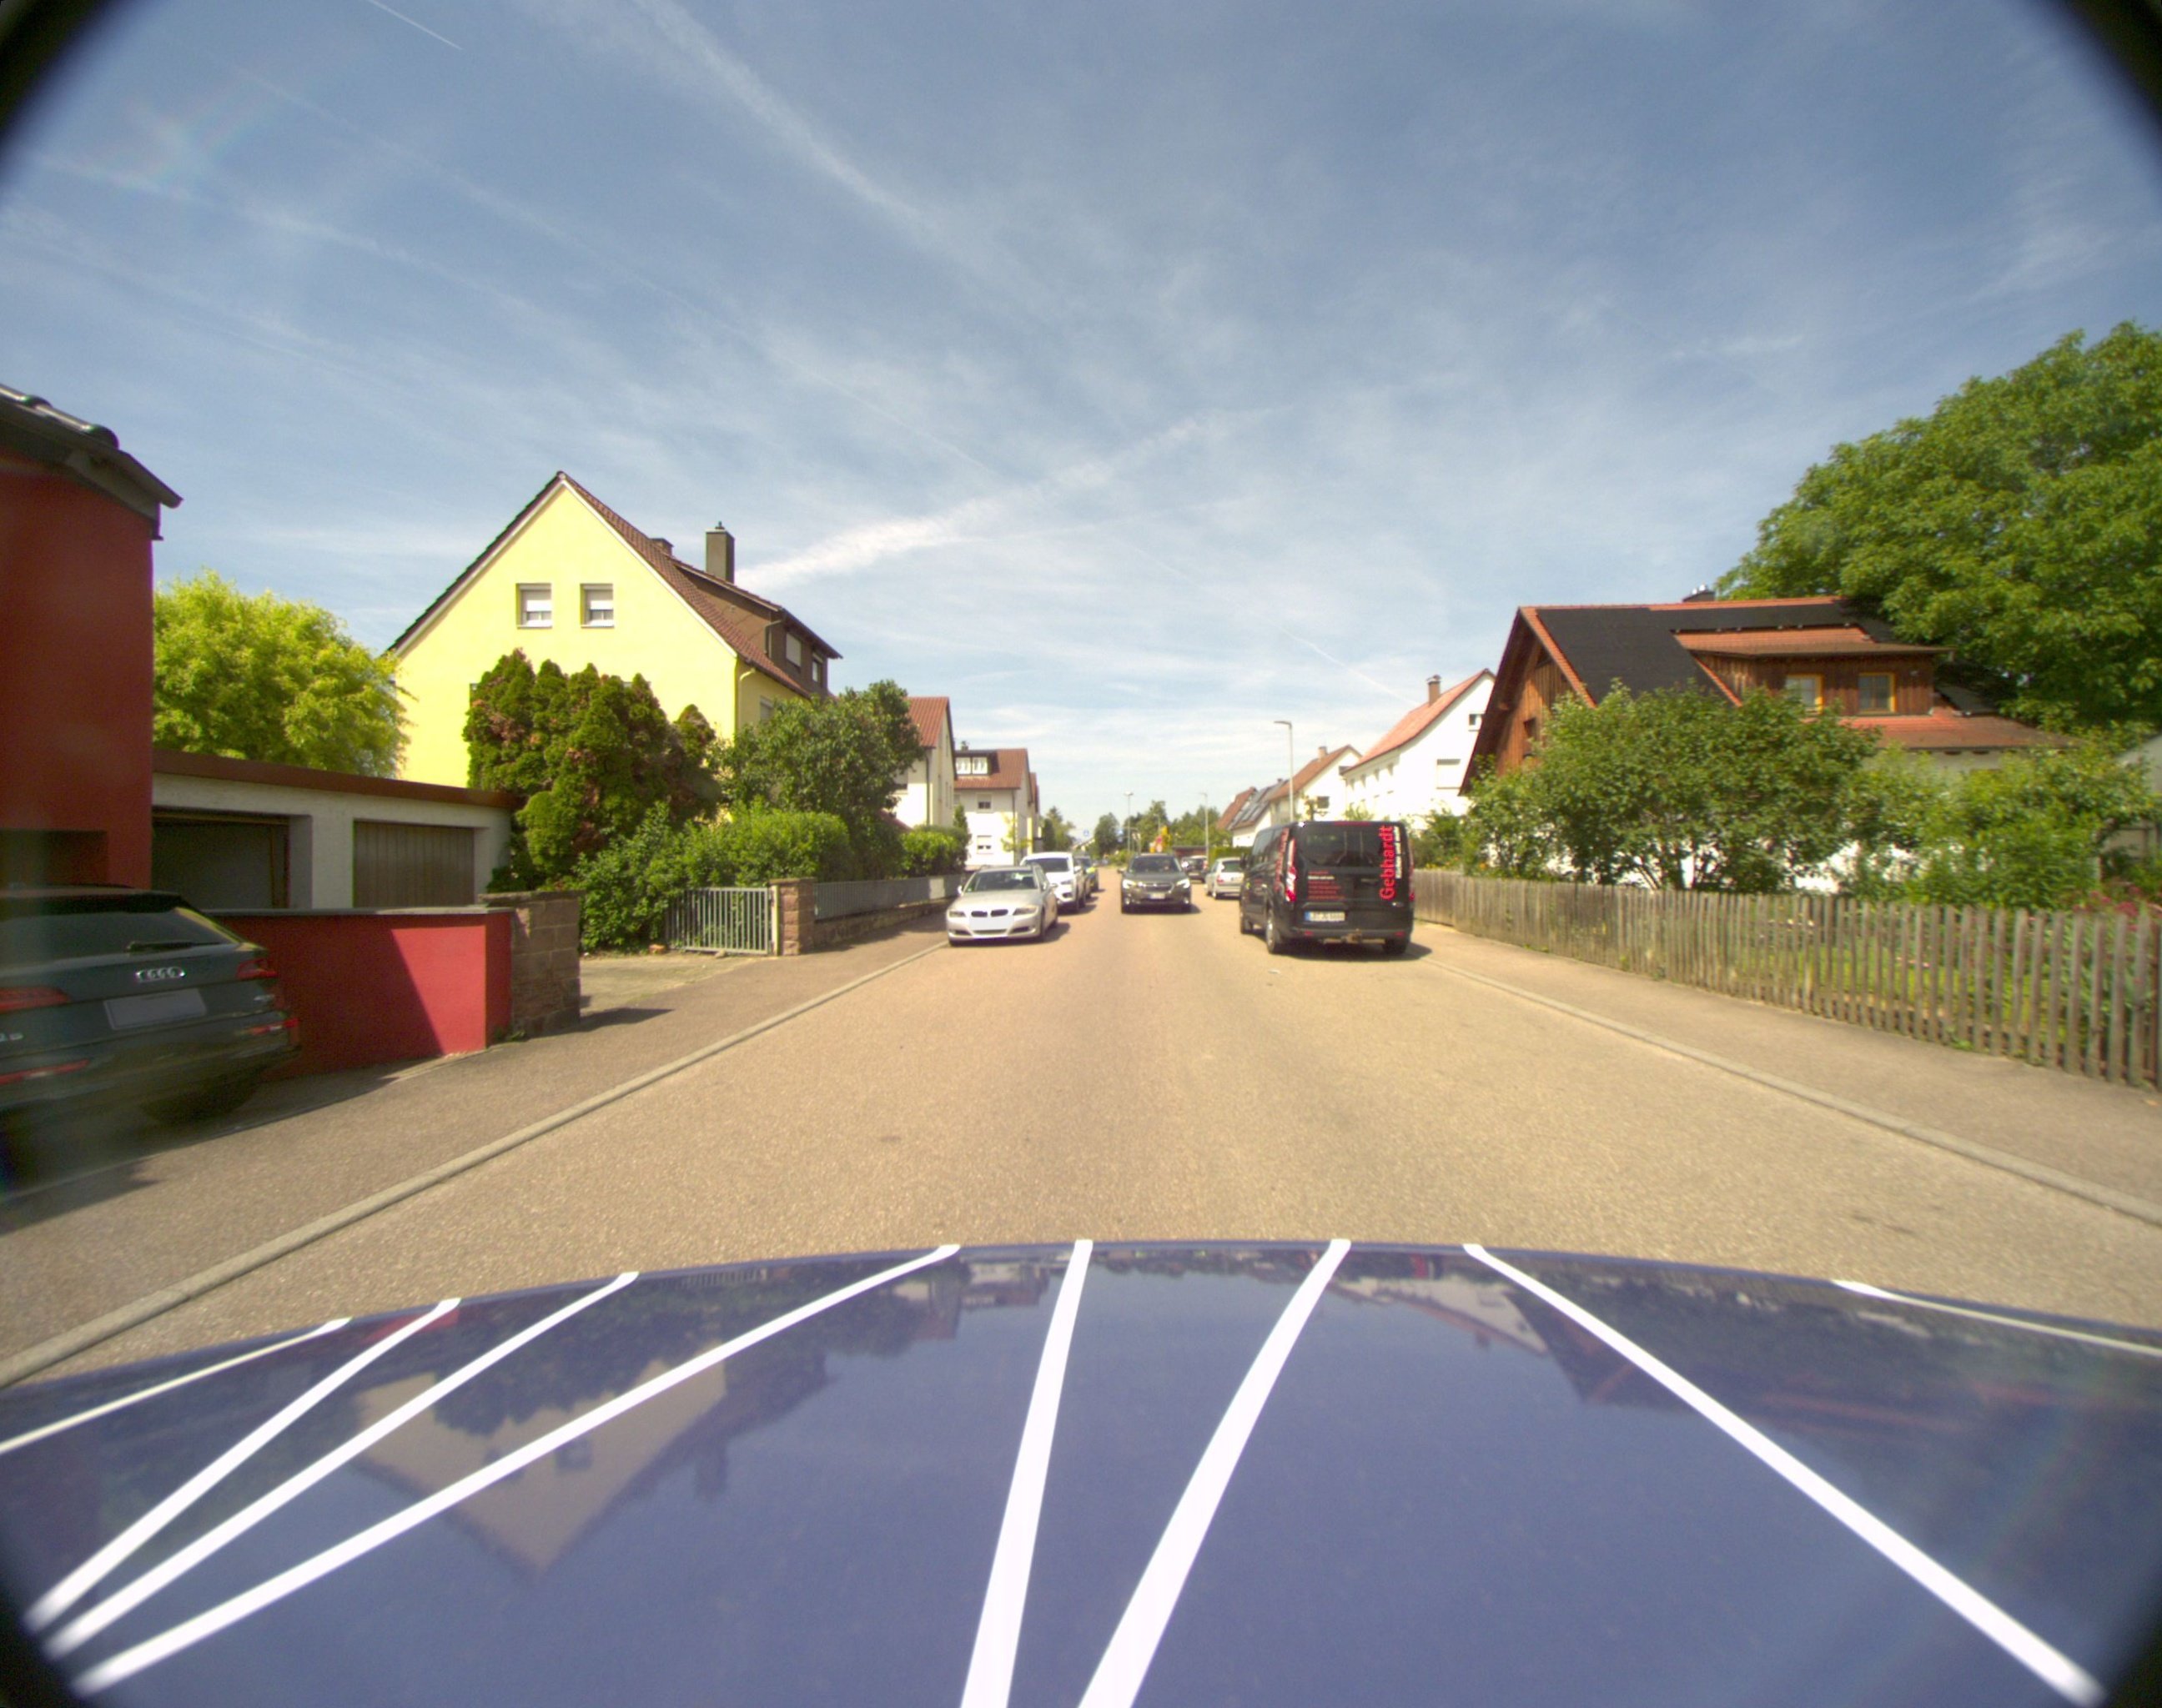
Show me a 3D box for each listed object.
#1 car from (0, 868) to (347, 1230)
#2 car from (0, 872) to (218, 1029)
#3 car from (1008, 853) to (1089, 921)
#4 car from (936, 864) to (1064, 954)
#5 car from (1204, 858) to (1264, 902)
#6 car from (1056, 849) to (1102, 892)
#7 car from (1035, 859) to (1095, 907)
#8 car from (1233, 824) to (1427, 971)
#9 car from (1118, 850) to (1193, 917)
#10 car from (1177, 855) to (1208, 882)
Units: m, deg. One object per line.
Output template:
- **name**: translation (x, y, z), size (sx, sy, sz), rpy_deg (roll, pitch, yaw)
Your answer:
- **car**: translation (-7.245, 1.161, 4.258), size (4.378, 1.659, 1.877), rpy_deg (-6, 0, 3)
- **car**: translation (-12.106, 0.928, 8.066), size (3.963, 1.457, 1.789), rpy_deg (0, -1, 2)
- **car**: translation (-0.804, 0.843, 21.602), size (1.740, 1.652, 4.338), rpy_deg (-2, 0, 4)
- **car**: translation (-1.436, 0.975, 15.231), size (1.755, 1.412, 4.422), rpy_deg (-3, 0, 4)
- **car**: translation (5.332, 0.855, 26.726), size (1.585, 1.434, 3.266), rpy_deg (0, 0, 2)
- **car**: translation (-0.023, 0.688, 33.562), size (1.669, 1.739, 4.057), rpy_deg (-2, 0, 4)
- **car**: translation (-0.482, 0.942, 26.722), size (1.627, 1.460, 4.373), rpy_deg (-2, 0, 4)
- **car**: translation (3.813, 0.583, 12.578), size (1.972, 1.940, 4.697), rpy_deg (-1, 0, 4)
- **car**: translation (1.973, 0.726, 21.090), size (1.837, 1.637, 4.324), rpy_deg (-1, 0, 3)
- **car**: translation (6.289, 0.786, 43.079), size (1.601, 1.450, 3.662), rpy_deg (0, 0, 6)
